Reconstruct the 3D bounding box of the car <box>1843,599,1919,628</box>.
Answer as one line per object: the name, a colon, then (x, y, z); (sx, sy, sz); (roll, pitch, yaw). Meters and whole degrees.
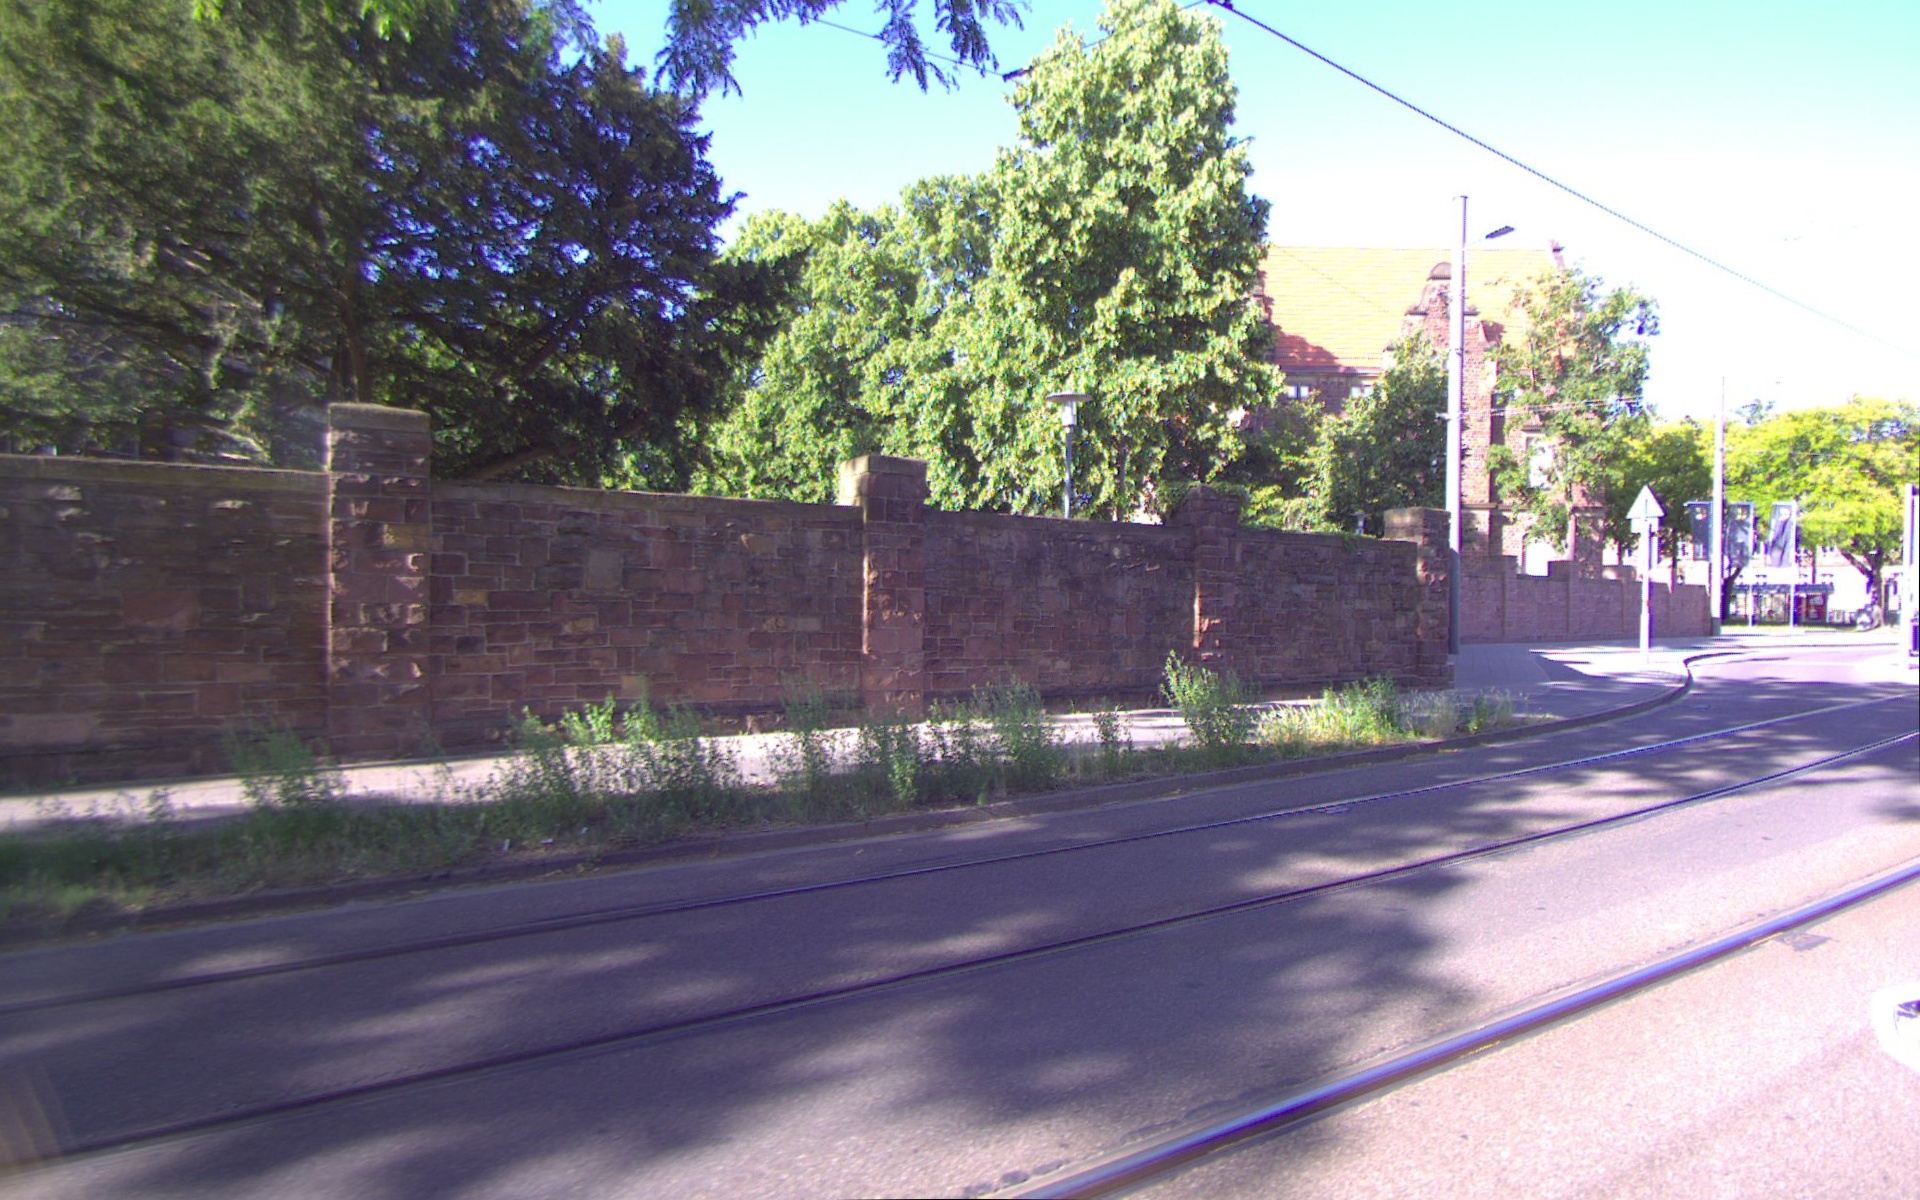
car: (60.349, 0.857, 65.369); (1.979, 1.814, 3.962); (1, 1, -34)
